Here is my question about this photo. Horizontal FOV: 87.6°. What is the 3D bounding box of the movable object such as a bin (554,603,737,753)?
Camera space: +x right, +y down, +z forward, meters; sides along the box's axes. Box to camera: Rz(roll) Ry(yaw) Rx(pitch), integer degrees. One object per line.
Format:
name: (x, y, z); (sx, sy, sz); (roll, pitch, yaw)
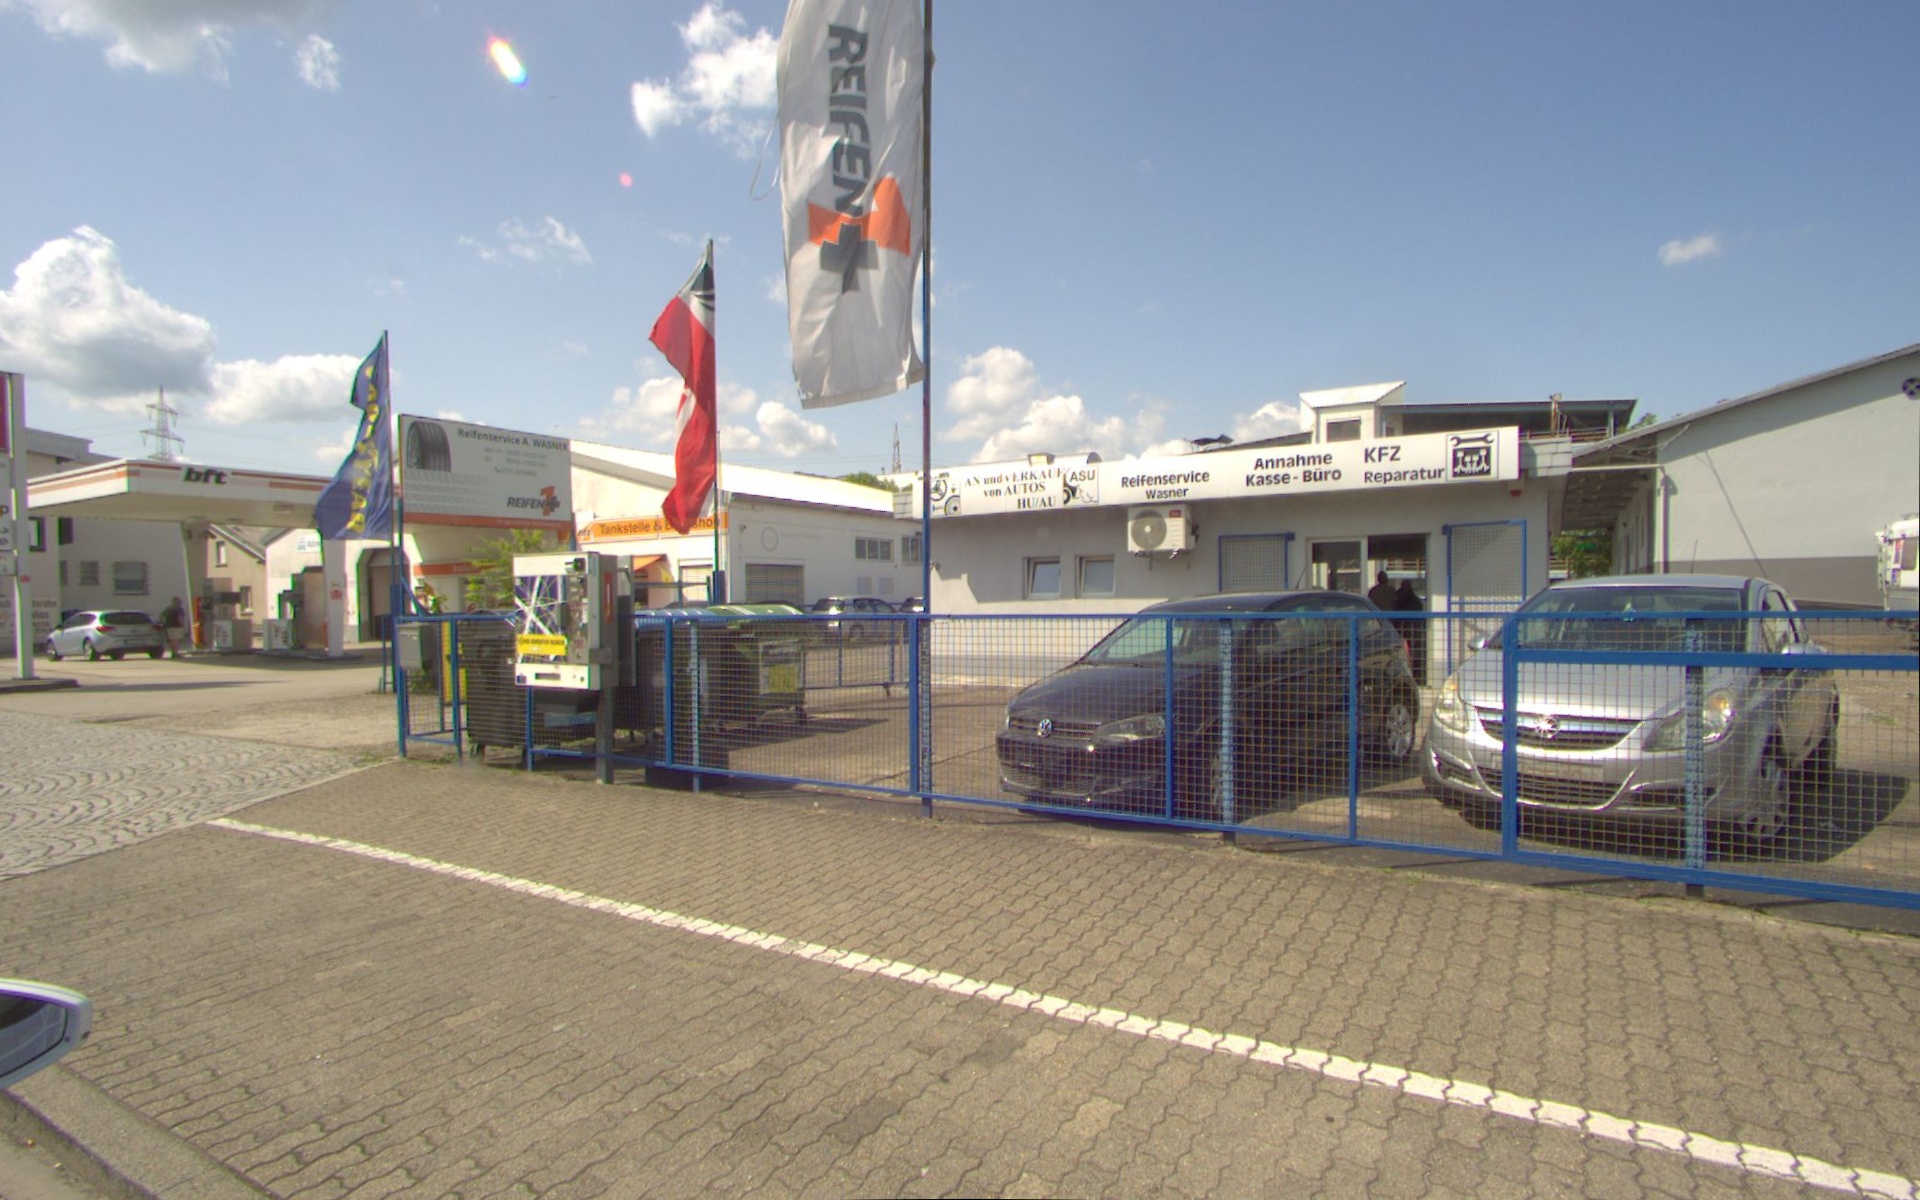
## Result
movable object such as a bin: (-3.371, 0.774, 10.783); (1.434, 1.473, 1.224); (0, 1, 31)

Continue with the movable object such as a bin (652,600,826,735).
movable object such as a bin: (-2.605, 0.742, 11.898); (1.433, 1.473, 1.427); (0, 1, 31)

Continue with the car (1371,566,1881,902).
car: (4.503, 0.586, 6.510); (4.104, 1.499, 1.787); (-1, 0, -42)

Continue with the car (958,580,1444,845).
car: (2.015, 0.626, 7.646); (3.962, 1.499, 1.705); (-1, 1, -43)

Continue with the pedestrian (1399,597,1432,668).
pedestrian: (7.979, 0.560, 17.523); (0.480, 1.229, 0.499); (0, 1, 30)

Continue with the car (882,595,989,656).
car: (-0.805, 0.861, 35.875); (1.971, 2.040, 3.979); (0, 0, 32)

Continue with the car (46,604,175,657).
car: (-25.834, 0.889, 30.431); (3.950, 1.499, 1.829); (-1, 1, 31)

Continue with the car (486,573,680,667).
car: (-8.913, 0.434, 23.980); (1.971, 2.040, 3.979); (0, 0, 32)

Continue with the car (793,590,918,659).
car: (-3.265, 0.726, 31.985); (1.971, 2.040, 3.979); (0, 0, 32)

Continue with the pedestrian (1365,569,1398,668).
pedestrian: (7.378, 0.322, 17.520); (0.480, 1.710, 0.499); (0, 1, 30)

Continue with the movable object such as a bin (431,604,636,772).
movable object such as a bin: (-4.131, 0.783, 9.743); (1.434, 1.473, 1.224); (0, 1, 31)

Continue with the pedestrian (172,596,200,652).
pedestrian: (-23.740, 0.728, 30.712); (0.628, 1.705, 0.618); (-1, 1, -36)

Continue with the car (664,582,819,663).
car: (-5.948, 0.570, 27.634); (1.971, 2.040, 3.979); (0, 0, 32)

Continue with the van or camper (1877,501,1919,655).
van or camper: (21.347, -0.461, 19.320); (4.983, 3.002, 2.276); (0, 1, 31)
